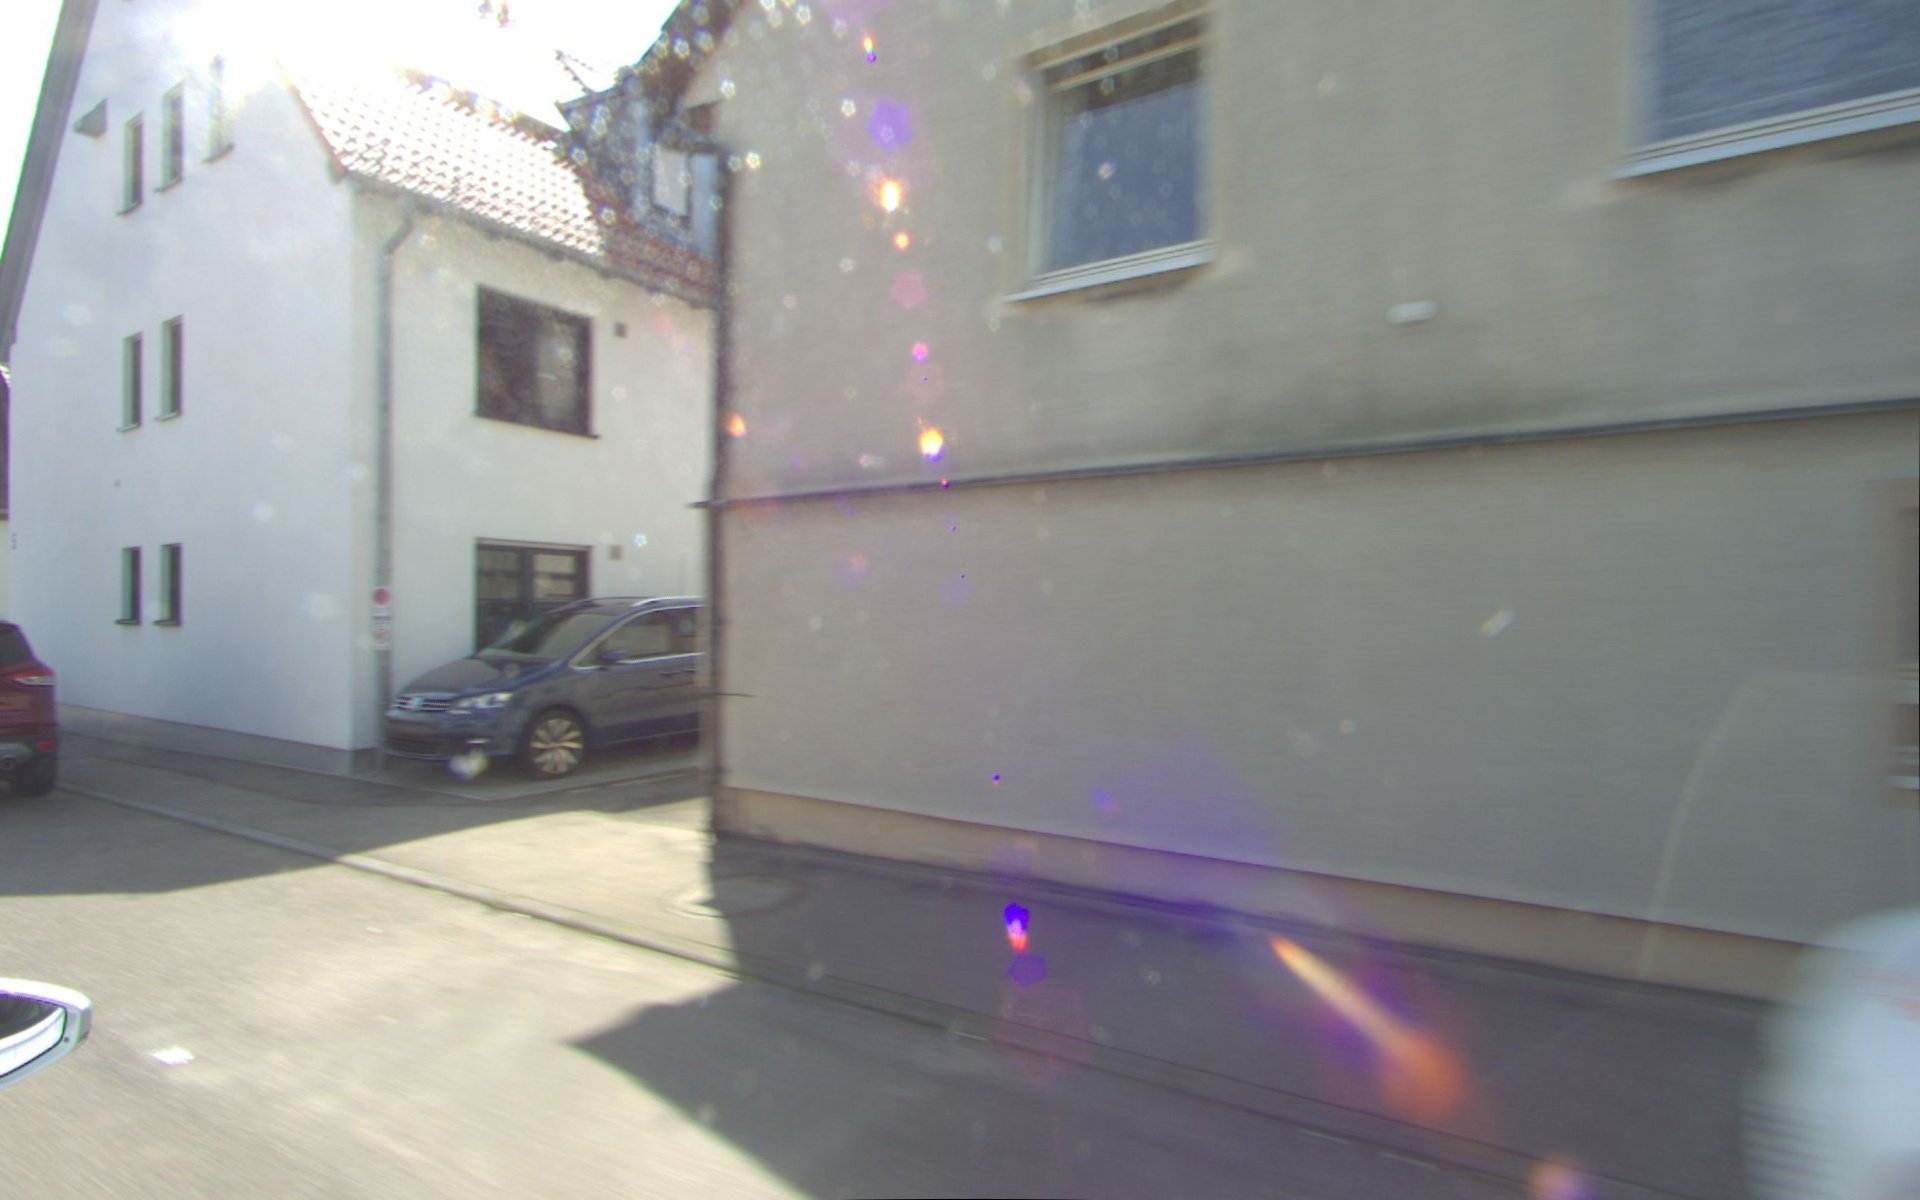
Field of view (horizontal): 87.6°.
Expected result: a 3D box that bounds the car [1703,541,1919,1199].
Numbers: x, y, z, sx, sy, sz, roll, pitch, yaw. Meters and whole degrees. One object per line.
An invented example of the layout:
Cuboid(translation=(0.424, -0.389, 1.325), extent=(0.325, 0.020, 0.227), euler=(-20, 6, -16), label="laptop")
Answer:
Cuboid(translation=(2.568, 0.741, 0.842), extent=(2.998, 1.578, 1.670), euler=(-1, -2, 33), label="car")

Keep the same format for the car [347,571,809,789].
Cuboid(translation=(-3.892, 0.755, 11.042), extent=(1.971, 1.867, 4.508), euler=(-1, -2, 32), label="car")

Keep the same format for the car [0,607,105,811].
Cuboid(translation=(-9.981, 0.931, 9.343), extent=(4.123, 1.722, 1.873), euler=(-1, -2, 32), label="car")
